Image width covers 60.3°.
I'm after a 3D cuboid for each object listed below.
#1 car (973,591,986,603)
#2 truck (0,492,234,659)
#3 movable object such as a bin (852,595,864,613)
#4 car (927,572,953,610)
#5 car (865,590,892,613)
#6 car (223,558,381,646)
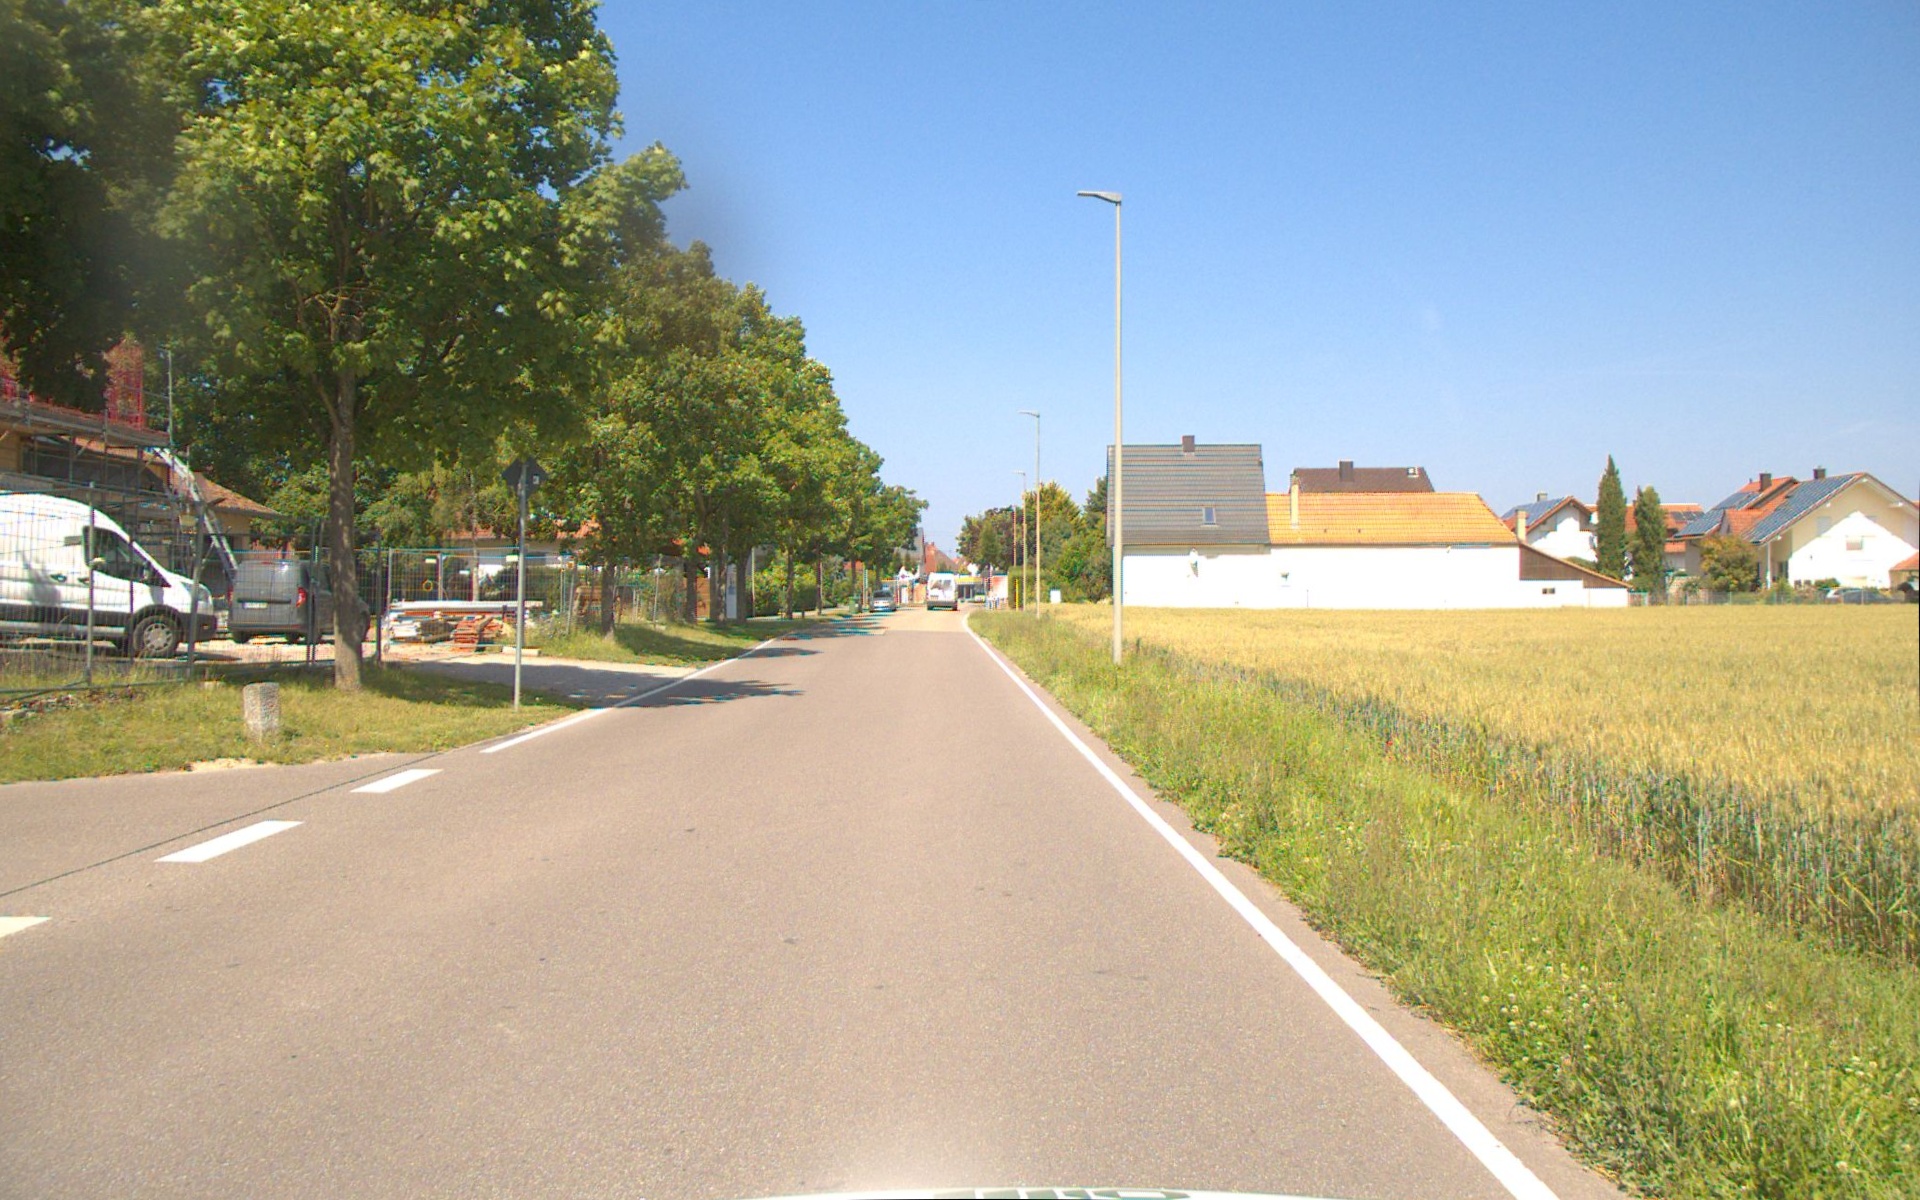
[{"bbox_3d":[2.758,-0.428,232.888,1.632,1.550,3.441,-2,0,-2],"label":"car"},{"bbox_3d":[-14.790,-0.369,26.062,5.872,2.527,1.972,0,0,-39],"label":"truck"},{"bbox_3d":[-6.569,0.258,106.382,0.562,1.097,0.599,-1,0,14],"label":"movable object such as a bin"},{"bbox_3d":[-1.375,-0.612,113.659,1.702,2.474,4.373,-1,0,-1],"label":"car"},{"bbox_3d":[-5.440,0.098,111.186,1.614,1.448,4.079,-3,0,-1],"label":"car"},{"bbox_3d":[-14.749,0.037,37.346,1.930,1.870,4.327,0,0,-2],"label":"car"}]
